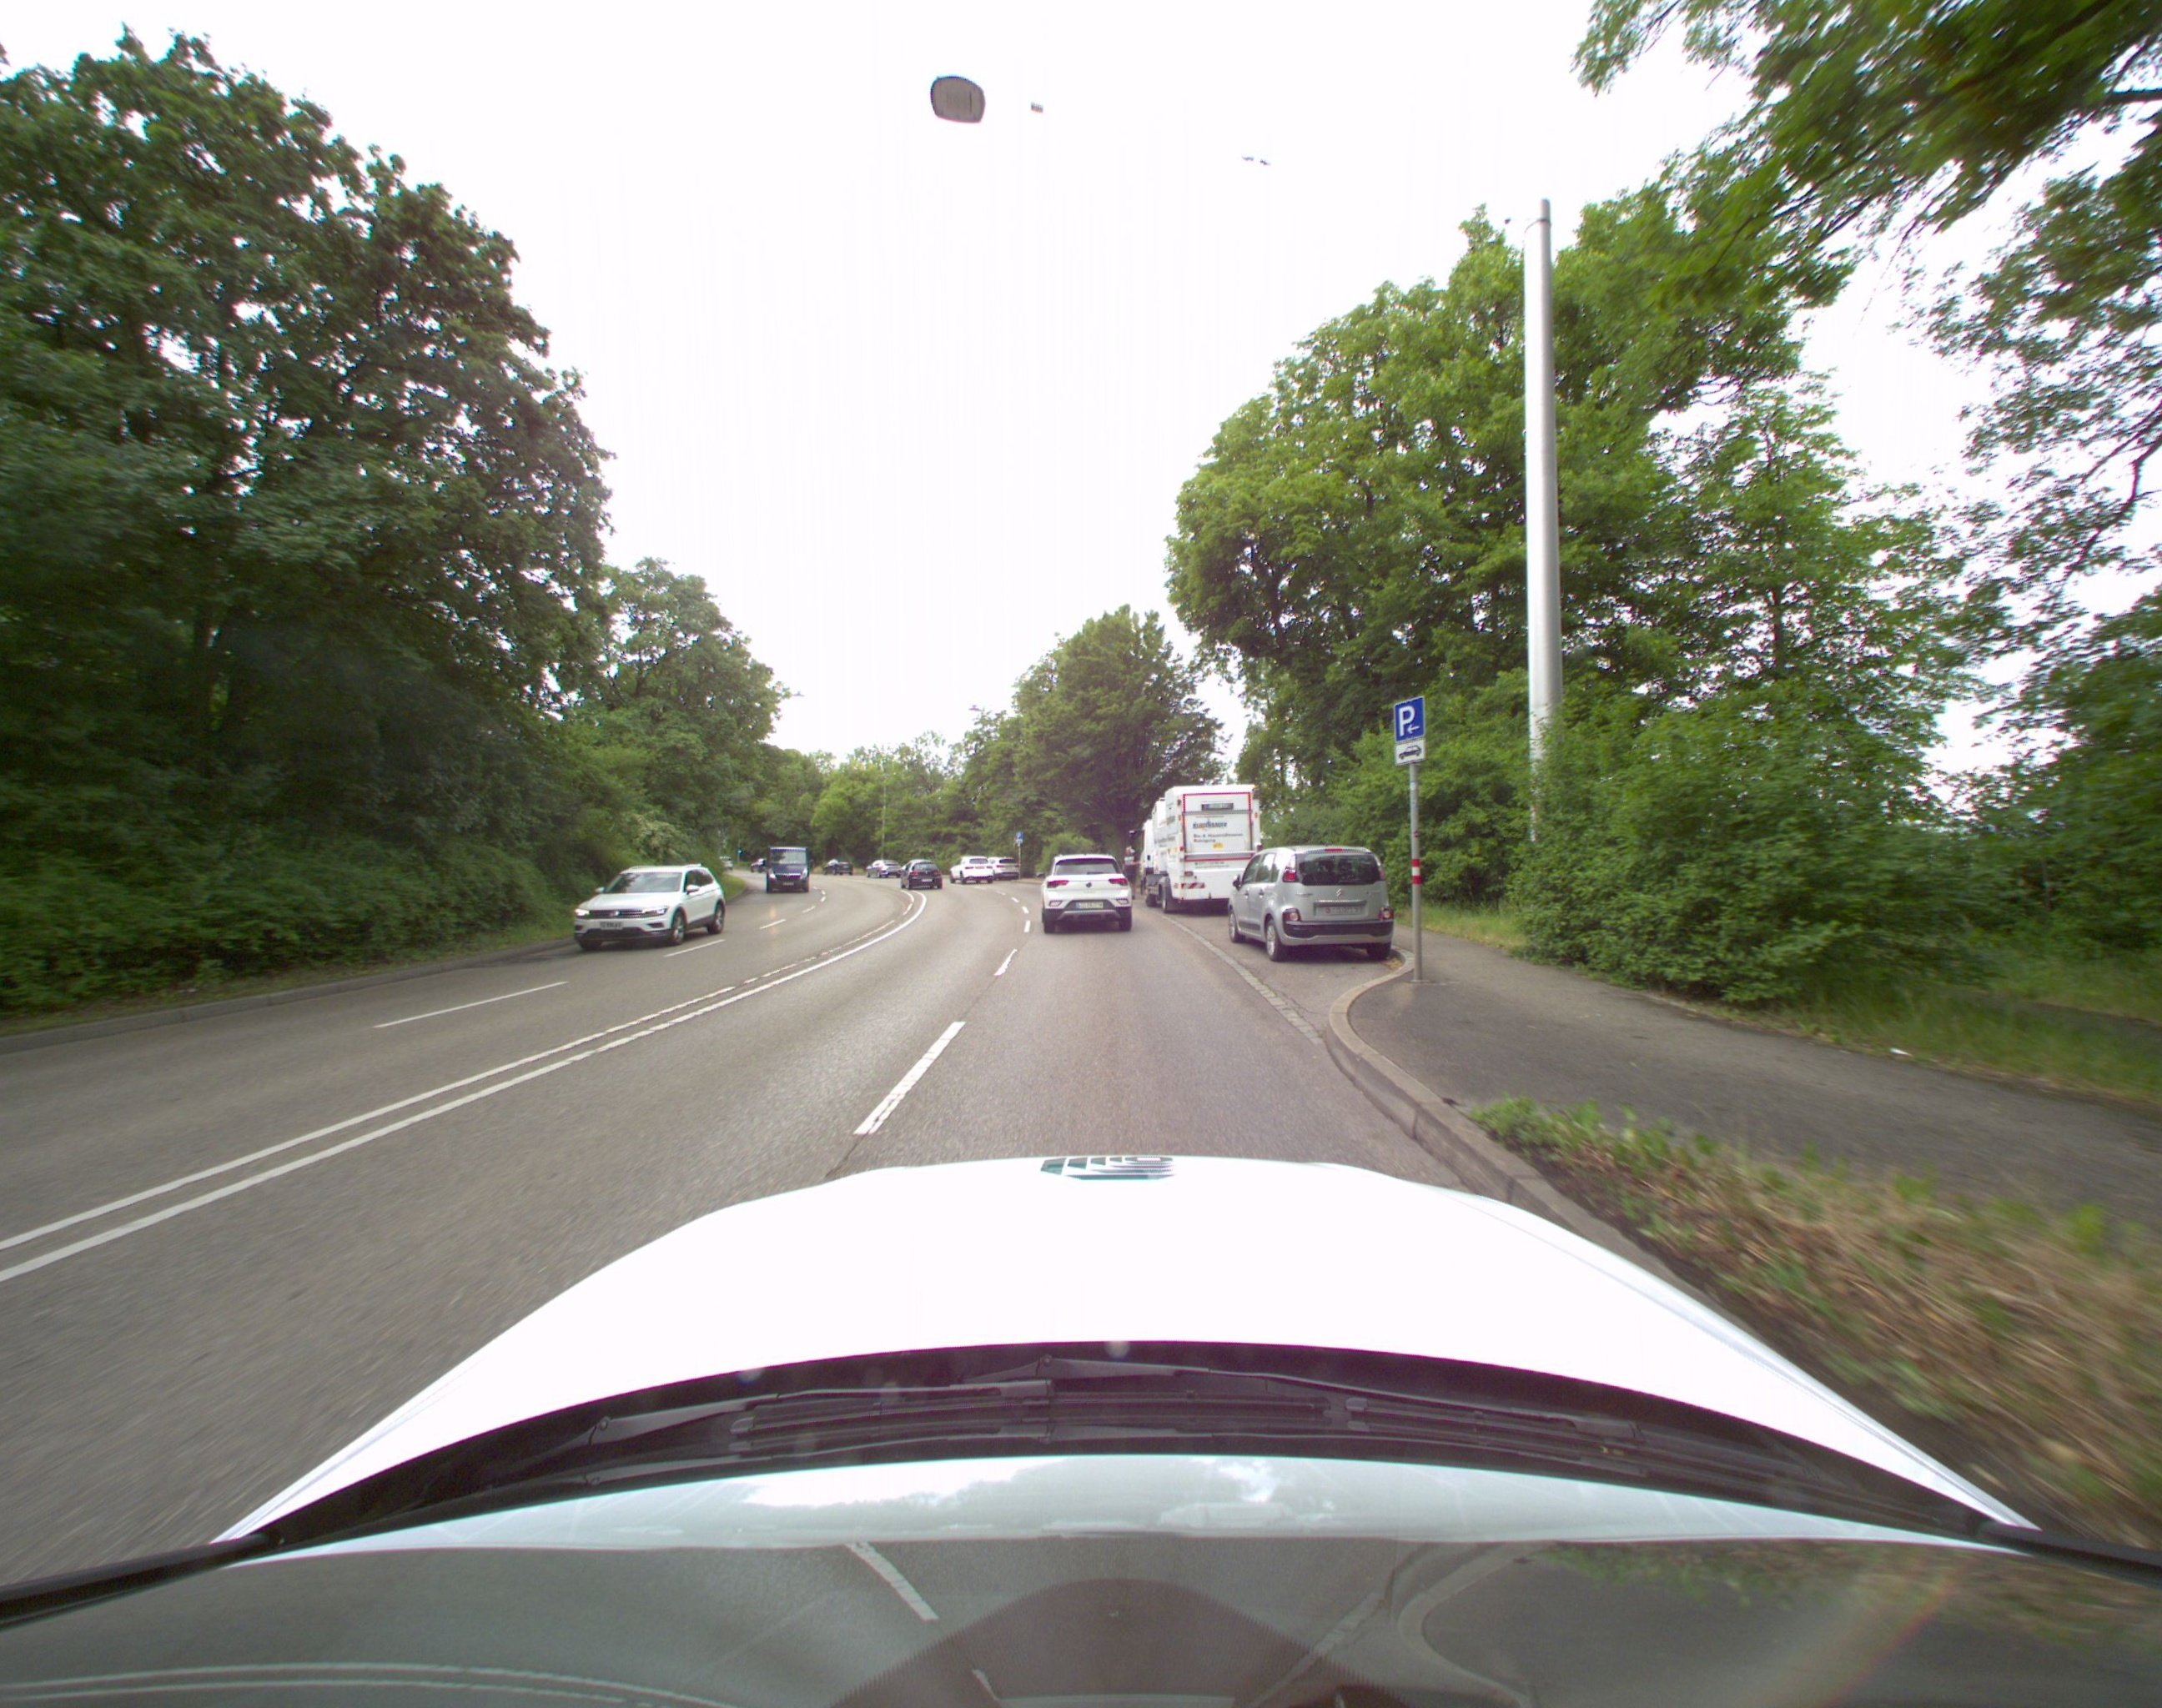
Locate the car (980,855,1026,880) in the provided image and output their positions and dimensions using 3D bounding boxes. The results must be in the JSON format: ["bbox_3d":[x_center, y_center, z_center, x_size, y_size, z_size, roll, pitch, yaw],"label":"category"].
[{"bbox_3d":[-5.408,0.909,55.808,1.767,1.652,4.344,-1,0,-26],"label":"car"}]

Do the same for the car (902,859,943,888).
[{"bbox_3d":[-8.388,0.989,42.927,1.952,1.466,3.981,0,0,-14],"label":"car"}]

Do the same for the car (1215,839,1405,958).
[{"bbox_3d":[3.397,0.611,12.903,1.798,1.524,3.998,-2,-1,-1],"label":"car"}]

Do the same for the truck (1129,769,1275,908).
[{"bbox_3d":[3.097,-0.348,22.936,2.477,3.181,7.219,-3,0,-4],"label":"truck"}]

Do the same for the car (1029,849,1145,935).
[{"bbox_3d":[-0.005,0.742,17.483,1.998,1.596,3.991,2,-1,-6],"label":"car"}]

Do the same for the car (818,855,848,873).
[{"bbox_3d":[-23.546,0.896,77.311,1.777,1.607,3.961,2,-1,-31],"label":"car"}]

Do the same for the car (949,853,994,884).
[{"bbox_3d":[-6.630,0.821,49.061,1.858,1.702,3.973,-2,1,-20],"label":"car"}]

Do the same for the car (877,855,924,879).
[{"bbox_3d":[-13.868,0.979,62.525,2.009,1.717,3.955,2,-1,-38],"label":"car"}]

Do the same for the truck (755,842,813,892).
[{"bbox_3d":[-15.576,0.653,42.436,2.172,2.371,6.621,-1,0,-26],"label":"truck"}]

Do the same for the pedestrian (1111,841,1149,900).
[{"bbox_3d":[1.664,0.574,27.878,0.914,1.833,0.984,11,-1,1],"label":"pedestrian"}]

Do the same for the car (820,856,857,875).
[{"bbox_3d":[-21.656,0.991,72.841,1.986,1.568,4.001,2,-1,2],"label":"car"}]

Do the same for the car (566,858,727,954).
[{"bbox_3d":[-9.184,1.019,17.653,1.858,1.694,4.417,-4,0,-12],"label":"car"}]
